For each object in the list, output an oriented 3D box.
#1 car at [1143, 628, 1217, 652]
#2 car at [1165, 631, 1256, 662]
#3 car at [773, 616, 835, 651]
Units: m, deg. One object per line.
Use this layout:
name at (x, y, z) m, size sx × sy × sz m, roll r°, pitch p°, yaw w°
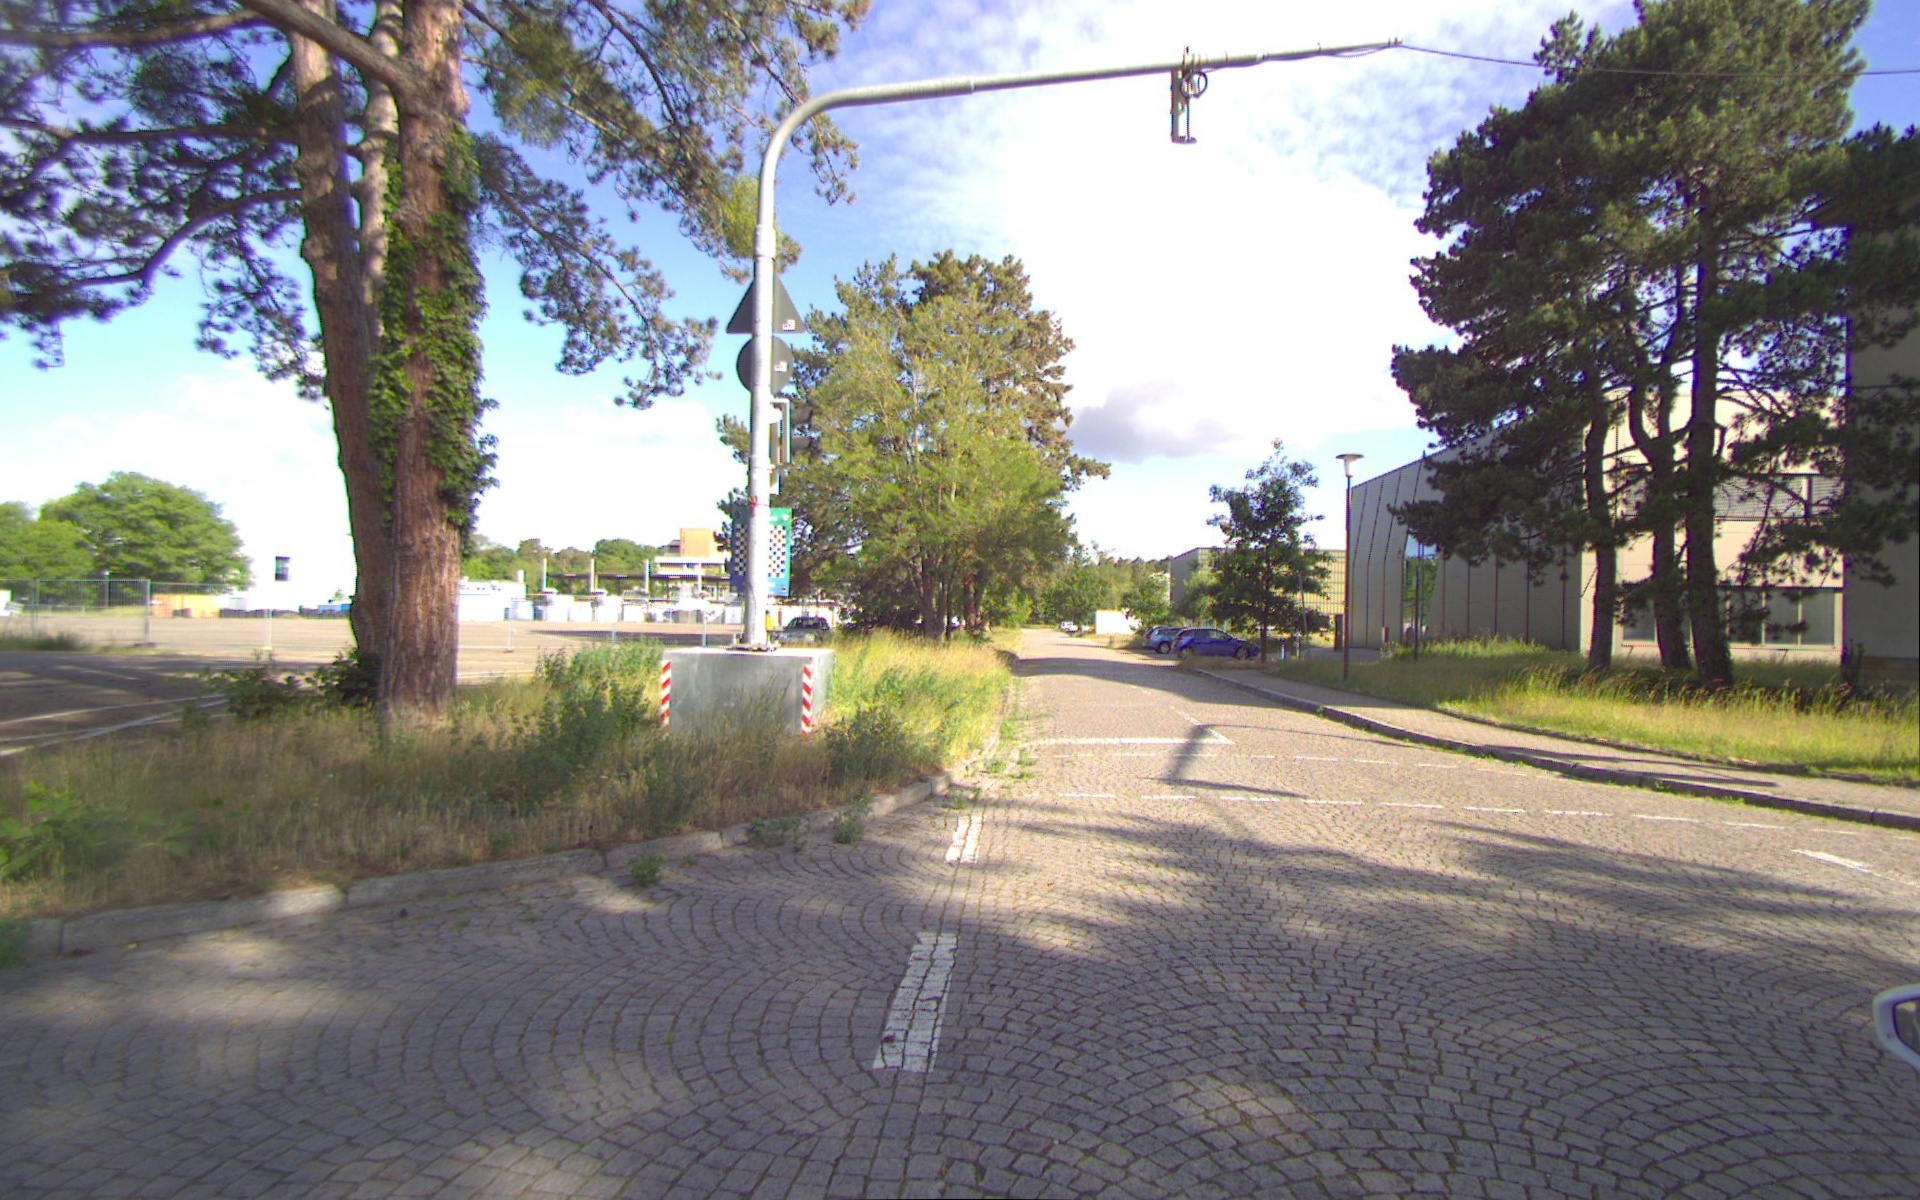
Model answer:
car at (12.296, 2.257, 56.399) m, size 3.919 × 1.221 × 1.493 m, roll 1°, pitch -1°, yaw 7°
car at (11.677, 2.162, 47.032) m, size 3.969 × 1.311 × 1.493 m, roll 1°, pitch -1°, yaw 6°
car at (-6.617, 1.418, 42.904) m, size 1.712 × 1.388 × 3.624 m, roll 1°, pitch -1°, yaw 6°
